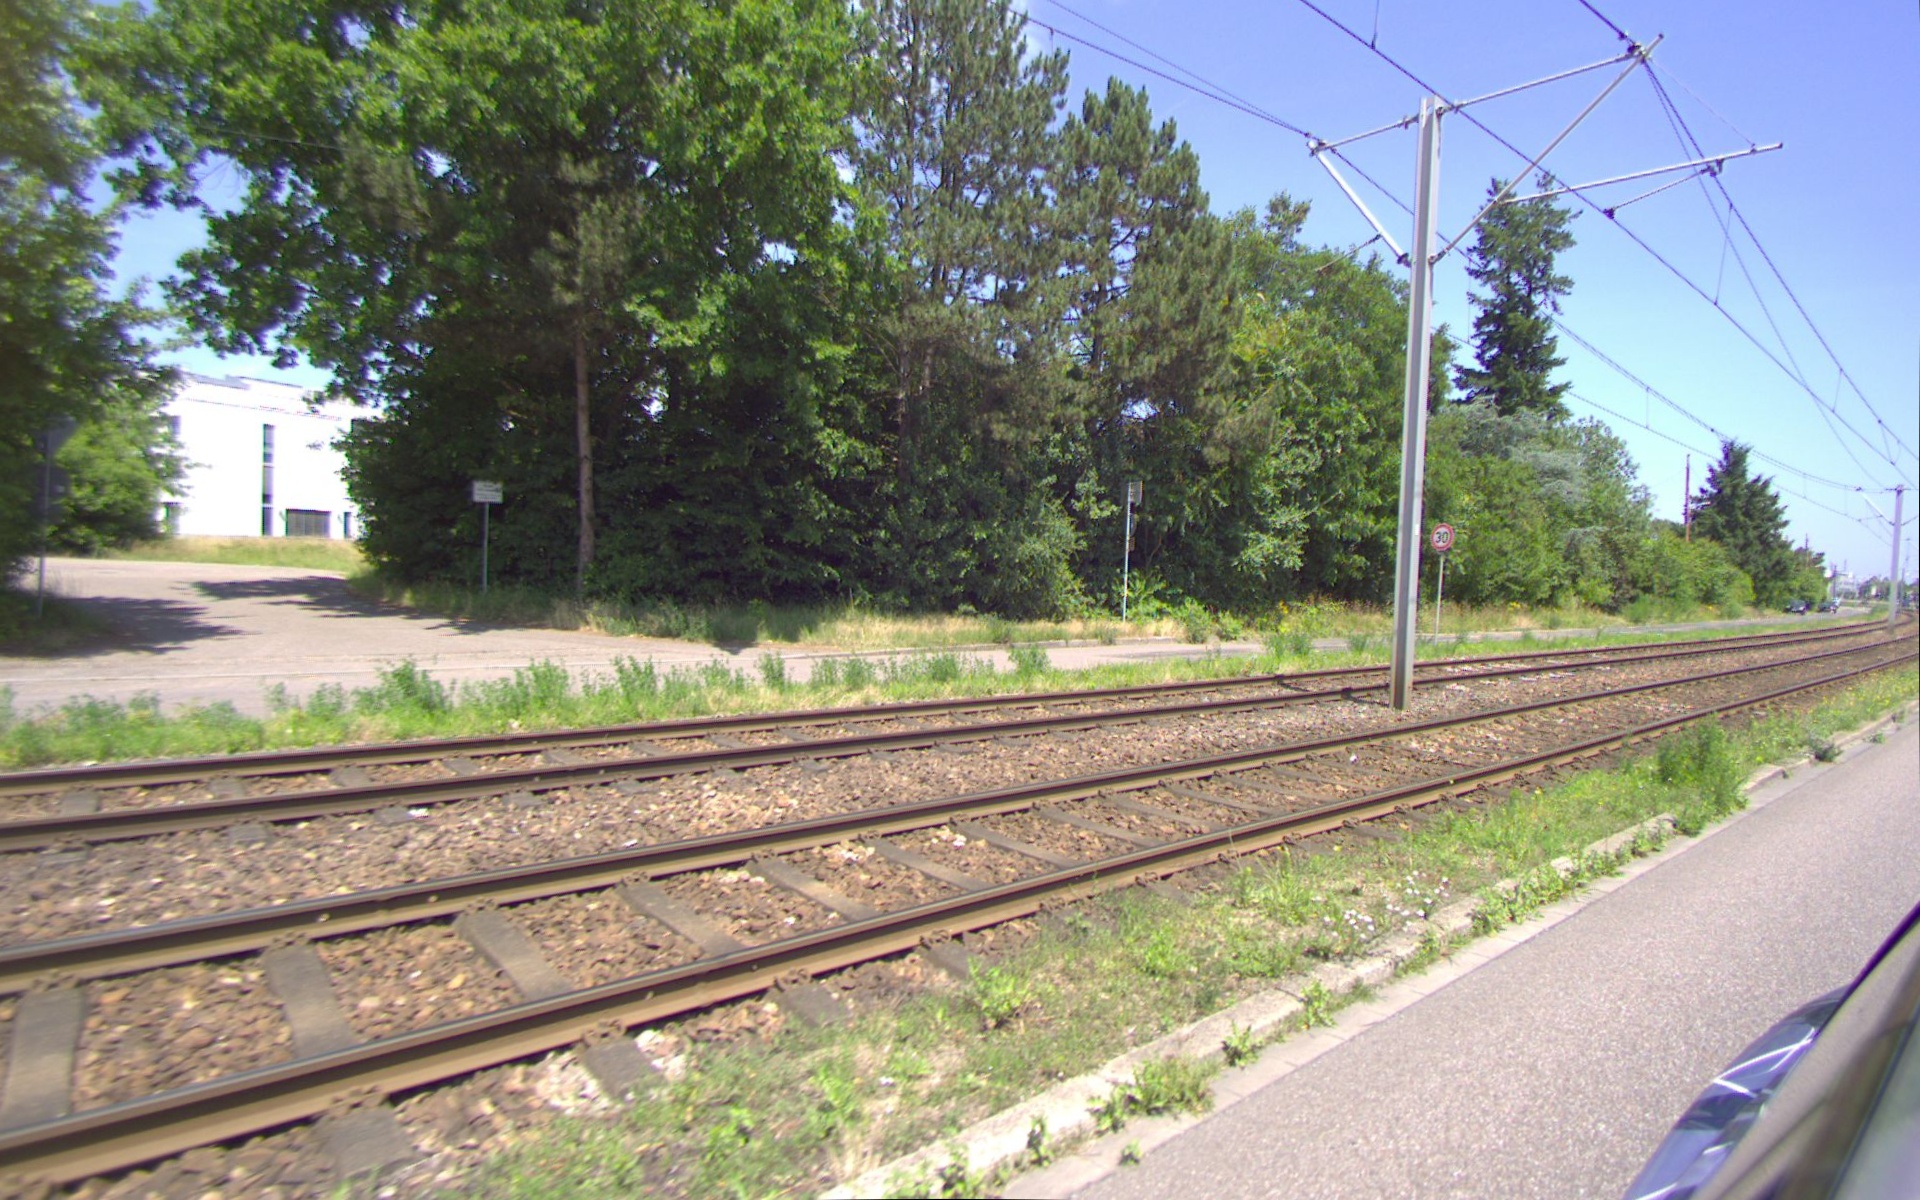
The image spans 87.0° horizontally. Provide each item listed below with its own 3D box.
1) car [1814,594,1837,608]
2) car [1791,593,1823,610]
[{"bbox_3d":[106.289,0.135,124.274,1.940,1.716,3.938,0,0,43],"label":"car"},{"bbox_3d":[86.186,0.145,102.960,3.932,1.742,1.996,-1,0,-43],"label":"car"}]
